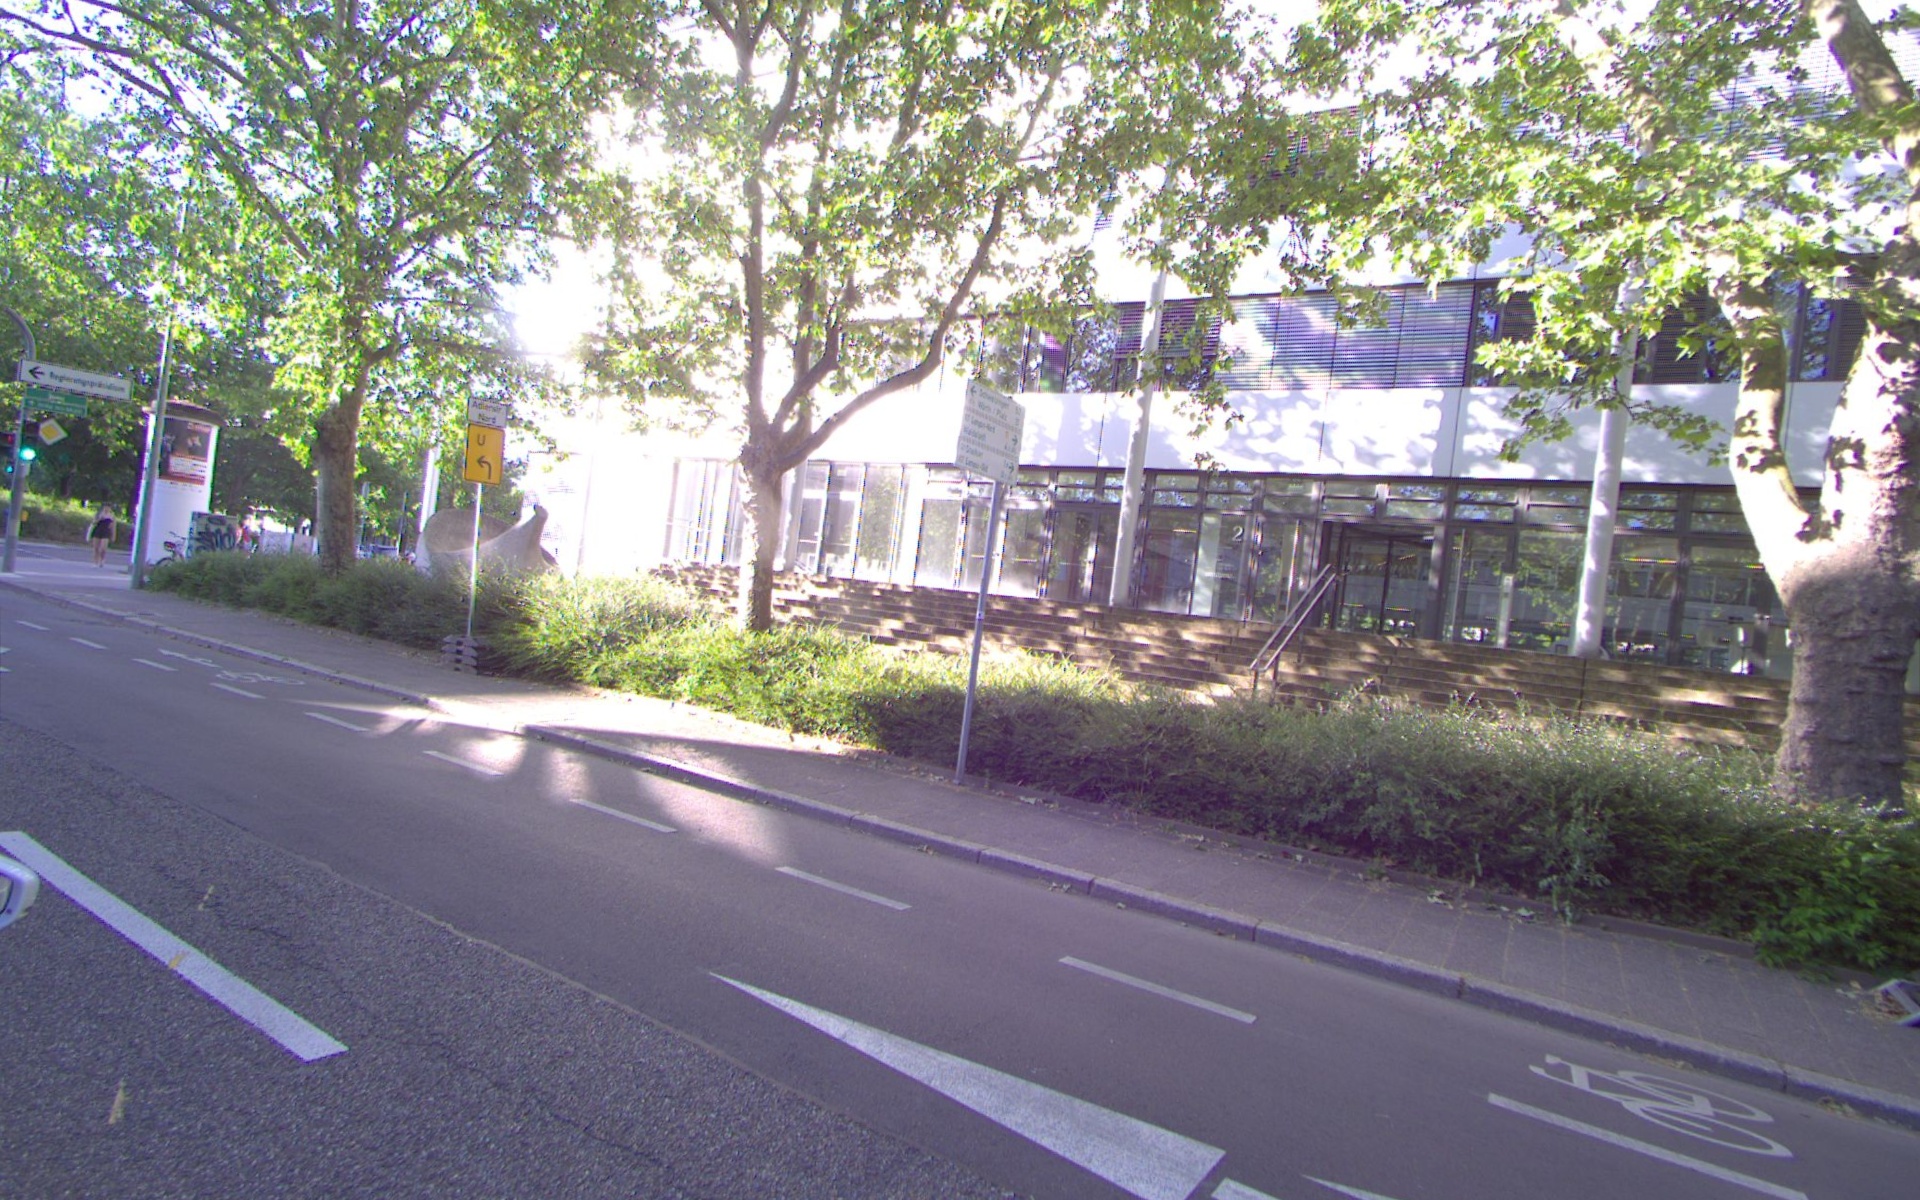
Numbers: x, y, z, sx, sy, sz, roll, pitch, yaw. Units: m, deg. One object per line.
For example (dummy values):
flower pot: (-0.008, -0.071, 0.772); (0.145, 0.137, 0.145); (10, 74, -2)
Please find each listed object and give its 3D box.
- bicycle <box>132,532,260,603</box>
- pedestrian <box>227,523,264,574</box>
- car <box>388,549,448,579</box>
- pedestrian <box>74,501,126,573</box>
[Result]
bicycle: (-15.955, -0.658, 21.073); (0.519, 1.203, 1.980); (7, -2, 30)
pedestrian: (-28.220, -2.022, 39.738); (0.674, 1.857, 0.782); (7, -1, 25)
car: (-35.578, -2.344, 65.987); (3.732, 1.500, 1.633); (6, -2, 31)
pedestrian: (-21.173, -1.547, 24.771); (0.795, 1.649, 0.897); (8, -1, -41)
